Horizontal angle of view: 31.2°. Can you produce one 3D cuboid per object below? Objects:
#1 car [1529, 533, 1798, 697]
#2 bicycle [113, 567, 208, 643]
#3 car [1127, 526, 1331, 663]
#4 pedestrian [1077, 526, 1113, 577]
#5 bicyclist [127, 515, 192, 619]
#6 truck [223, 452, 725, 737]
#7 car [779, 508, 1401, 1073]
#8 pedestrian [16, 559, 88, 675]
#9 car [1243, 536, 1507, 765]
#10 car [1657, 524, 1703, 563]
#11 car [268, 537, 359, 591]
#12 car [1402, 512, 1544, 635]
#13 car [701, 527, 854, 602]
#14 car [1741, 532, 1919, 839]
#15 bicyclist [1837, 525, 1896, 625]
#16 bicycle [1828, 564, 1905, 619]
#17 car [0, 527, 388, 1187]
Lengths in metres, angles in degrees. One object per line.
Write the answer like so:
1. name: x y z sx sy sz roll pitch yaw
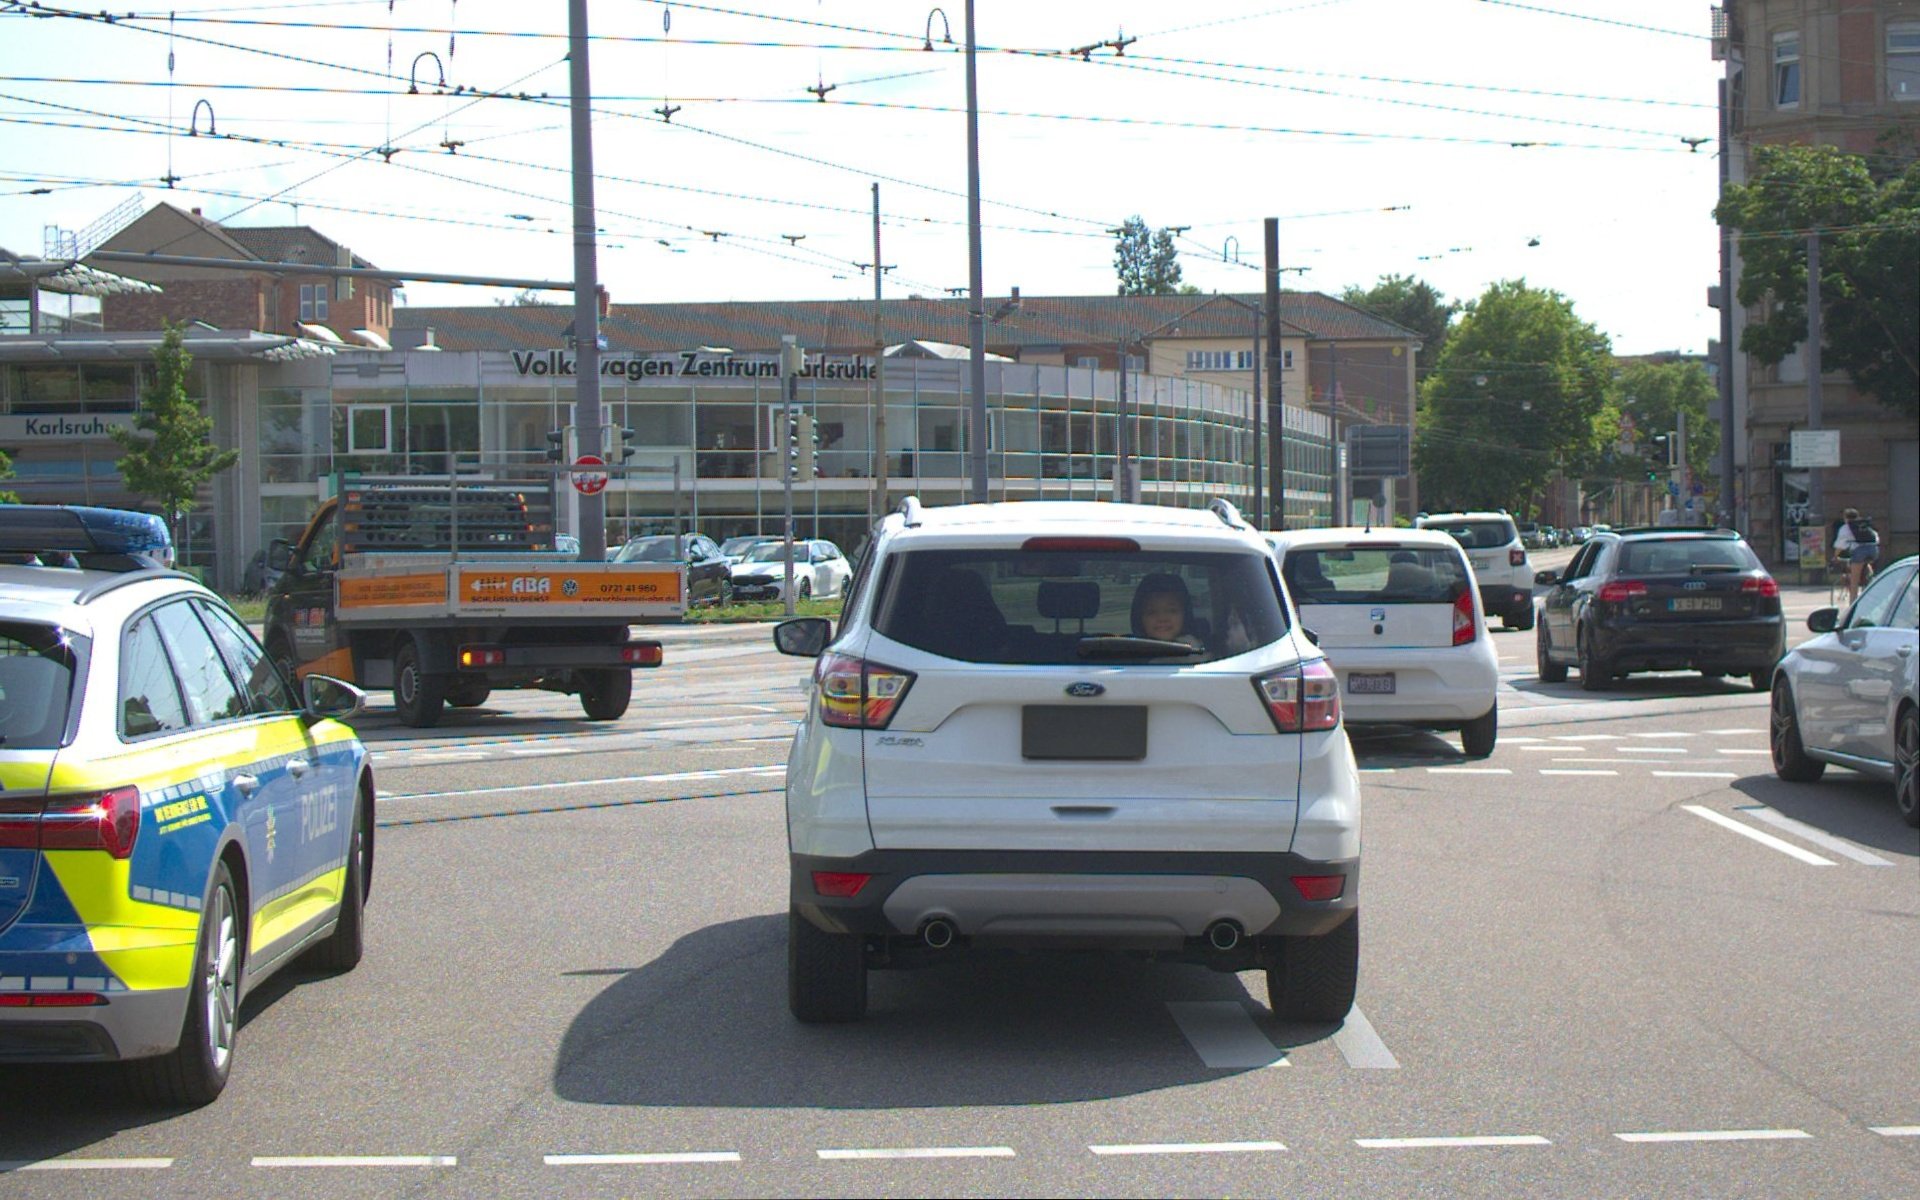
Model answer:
1. car: 6.293 0.087 31.153 1.699 1.367 4.133 0 1 2
2. bicycle: -13.076 0.070 56.300 0.759 1.188 2.150 -1 1 8
3. car: 2.878 -0.080 37.472 1.850 1.414 3.679 0 1 -1
4. pedestrian: 4.615 -1.650 117.377 0.876 1.731 0.875 1 0 30
5. bicyclist: -13.090 -0.539 56.218 0.759 1.677 0.760 -1 1 9
6. truck: -4.281 -0.084 29.230 2.338 2.148 5.852 -2 1 -28
7. car: 0.295 0.544 12.144 1.827 1.658 3.956 1 1 -3
8. pedestrian: -13.718 0.258 51.926 0.923 1.738 0.589 1 0 -26
9. car: 2.829 0.287 23.852 1.649 1.417 3.999 -1 1 6
10. car: 31.269 -2.436 149.237 1.837 1.646 3.997 0 0 14
11. car: -19.336 -1.062 102.943 1.818 1.528 3.917 -2 0 2
12. car: 7.196 -0.371 48.508 1.837 1.646 3.999 0 0 7
13. car: -3.705 -0.743 70.406 1.901 1.456 3.966 -1 1 16
14. car: 5.899 0.433 19.205 1.930 1.450 4.760 1 3 0
15. bicyclist: 13.240 -0.364 50.217 0.608 1.446 0.774 -1 1 -4
16. bicycle: 13.249 -0.129 50.270 0.584 0.773 1.621 -1 1 -5
17. car: -2.970 0.561 10.429 1.880 1.563 4.616 1 1 -3
